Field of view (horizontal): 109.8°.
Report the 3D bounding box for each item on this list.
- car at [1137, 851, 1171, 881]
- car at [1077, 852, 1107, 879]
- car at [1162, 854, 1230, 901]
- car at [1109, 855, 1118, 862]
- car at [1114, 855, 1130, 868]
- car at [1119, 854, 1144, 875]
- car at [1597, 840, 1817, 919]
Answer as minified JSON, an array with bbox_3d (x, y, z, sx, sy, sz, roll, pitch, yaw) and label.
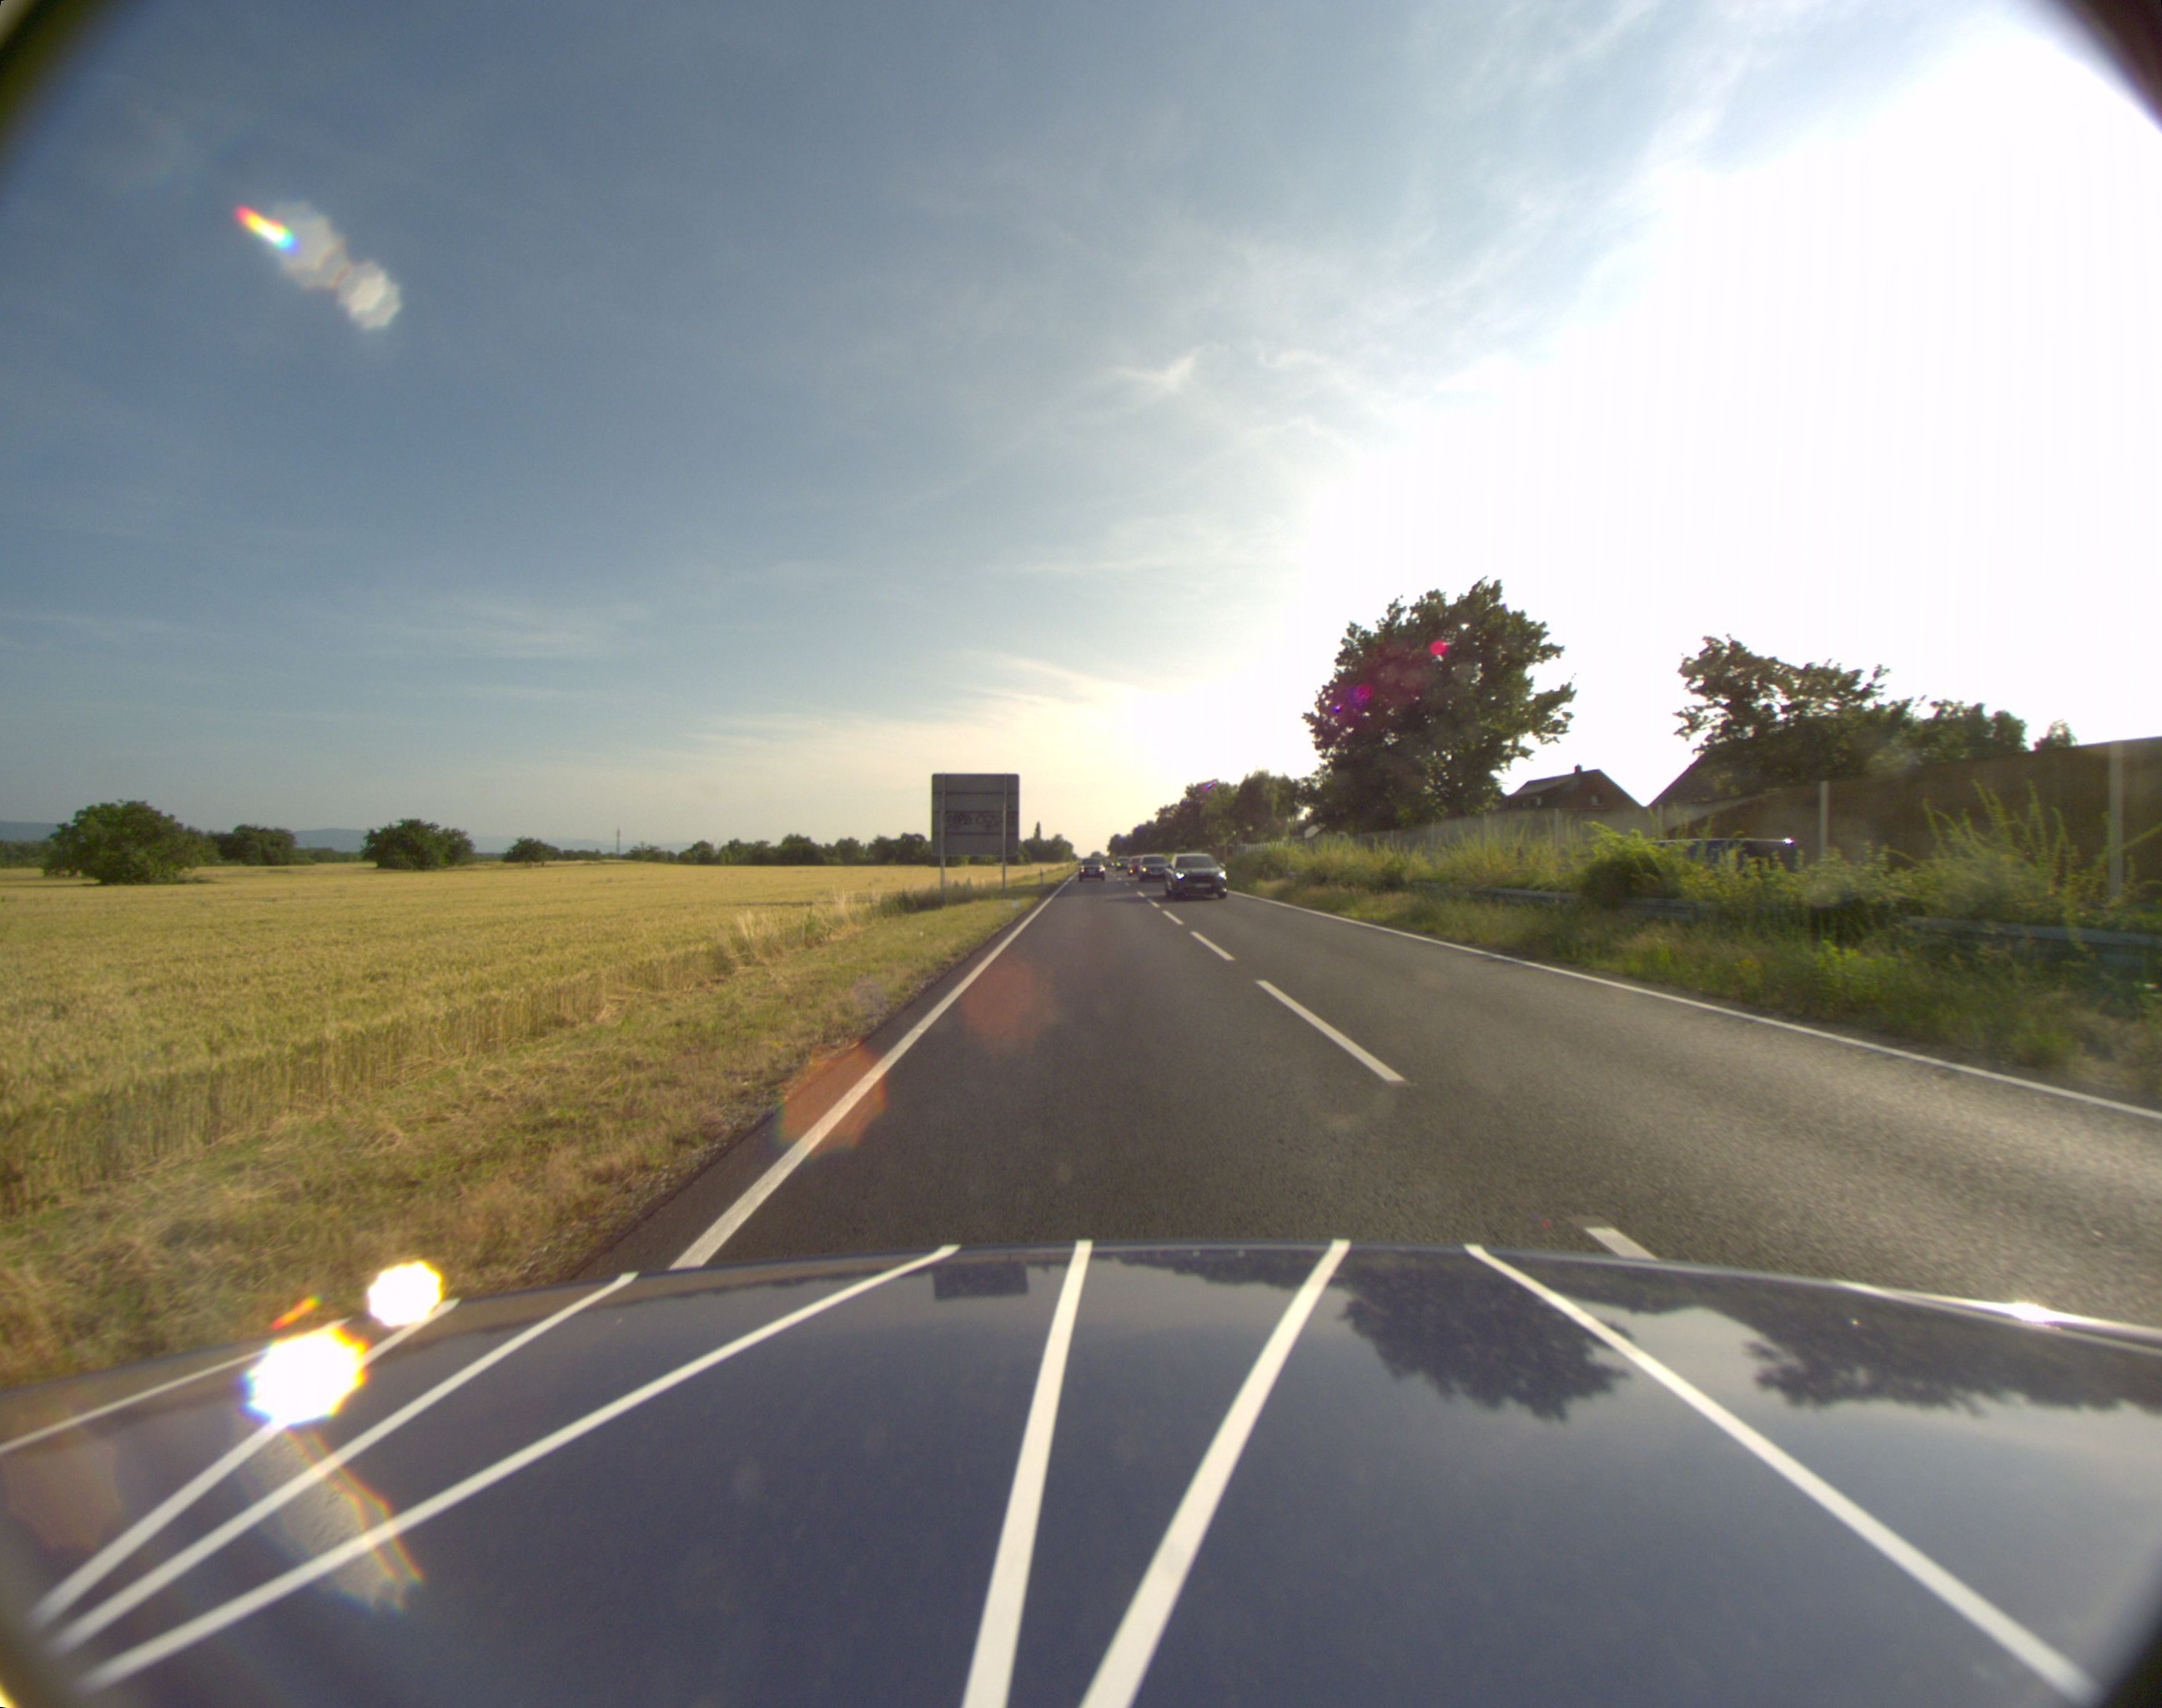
[{"bbox_3d":[4.558,0.715,47.930,1.822,1.724,4.000,-2,0,1],"label":"car"},{"bbox_3d":[0.719,0.719,49.875,1.822,1.661,4.000,-2,0,0],"label":"car"},{"bbox_3d":[4.084,0.787,27.537,1.822,1.516,4.246,-2,0,1],"label":"car"},{"bbox_3d":[6.573,0.913,154.456,1.693,1.397,4.000,-2,0,0],"label":"car"},{"bbox_3d":[4.951,0.850,92.115,1.700,1.456,3.646,-2,0,0],"label":"car"},{"bbox_3d":[4.162,0.841,62.988,1.822,1.661,4.000,-2,0,1],"label":"car"},{"bbox_3d":[16.307,0.589,20.203,1.998,1.813,4.681,-2,0,1],"label":"car"}]
